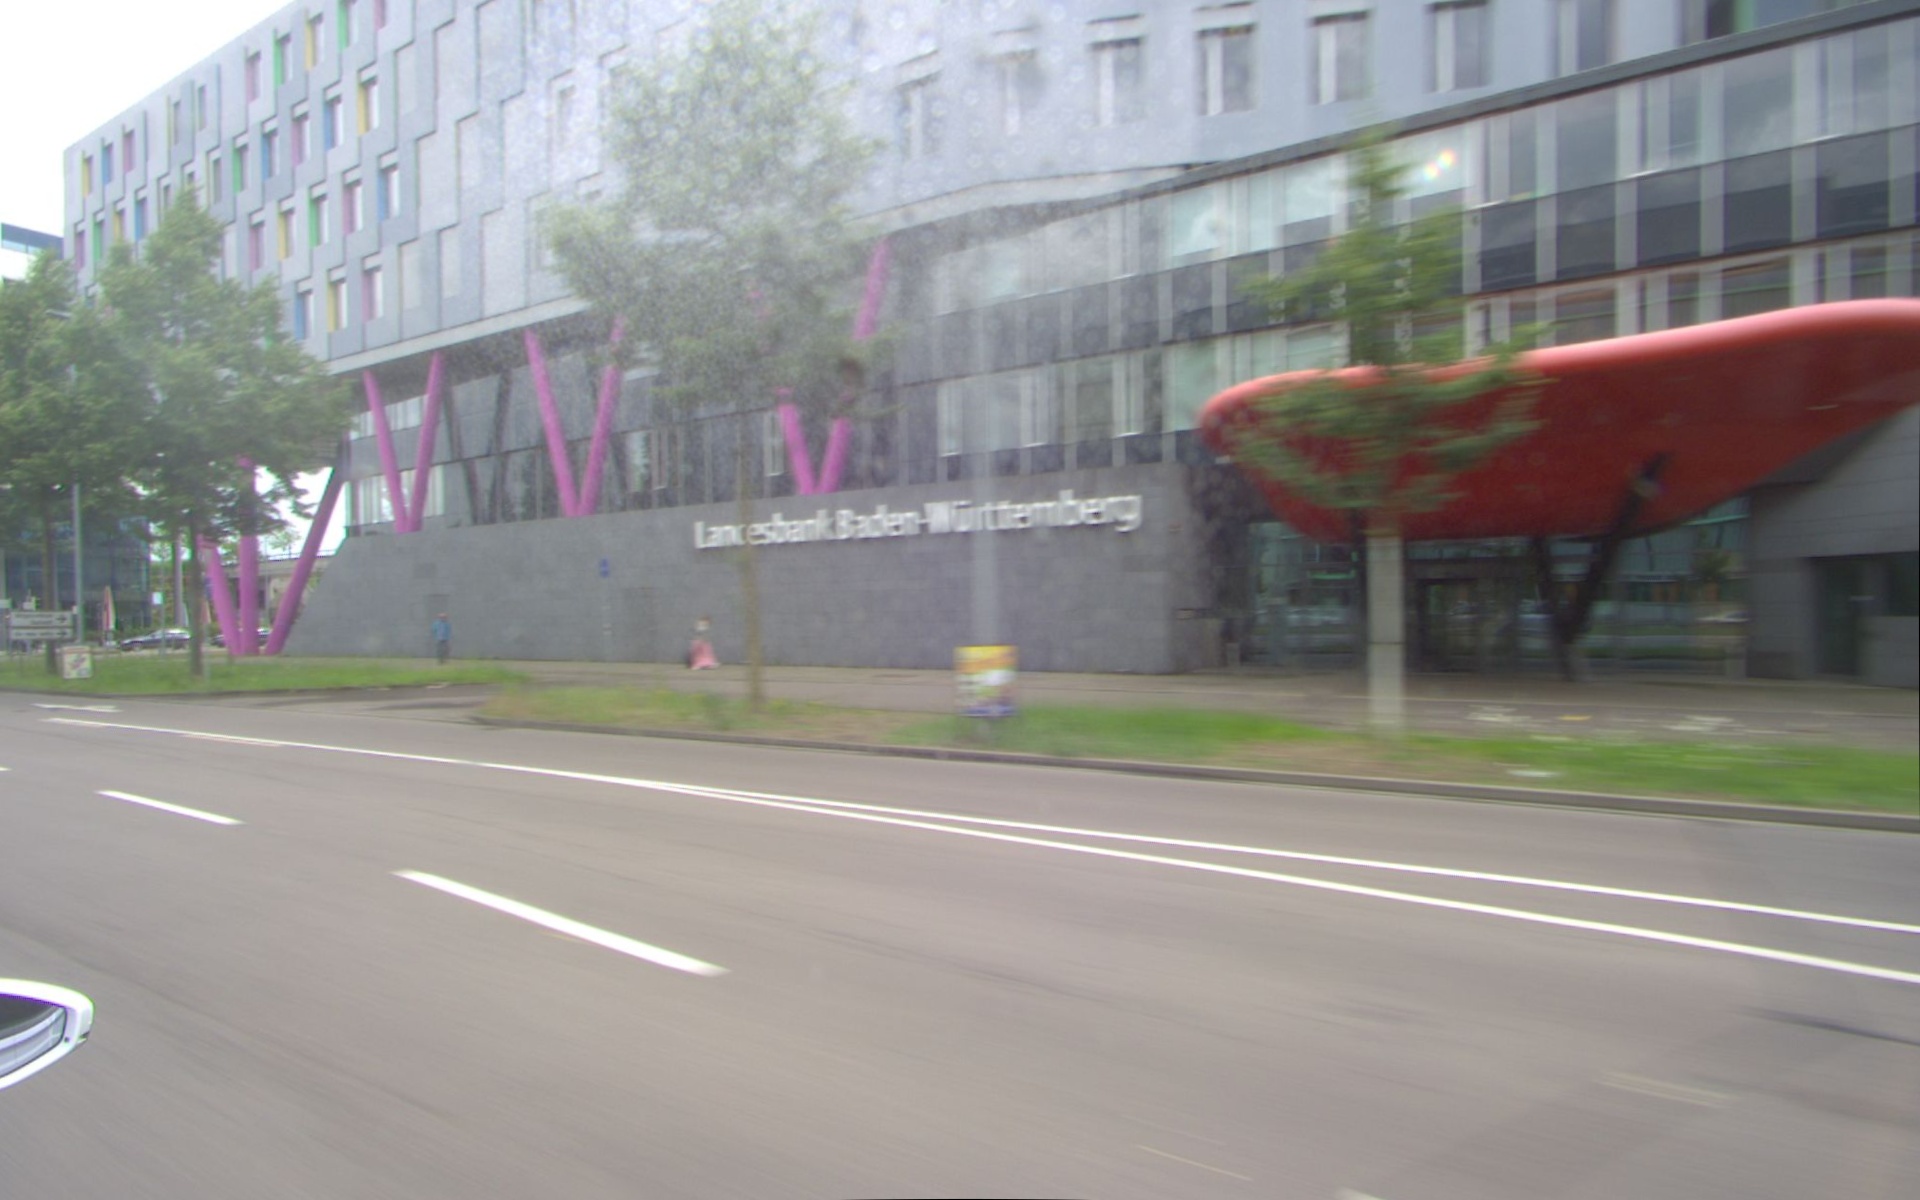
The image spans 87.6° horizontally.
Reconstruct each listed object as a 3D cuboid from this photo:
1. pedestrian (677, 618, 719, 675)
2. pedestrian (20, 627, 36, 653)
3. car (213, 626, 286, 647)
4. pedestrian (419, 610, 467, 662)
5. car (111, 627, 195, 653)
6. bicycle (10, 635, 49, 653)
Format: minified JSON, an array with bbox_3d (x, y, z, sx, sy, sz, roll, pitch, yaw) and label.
[{"bbox_3d":[-7.594,1.321,29.042,0.901,1.604,0.783,0,1,32],"label":"pedestrian"},{"bbox_3d":[-60.694,2.609,65.216,0.610,1.625,0.613,-1,0,34],"label":"pedestrian"},{"bbox_3d":[-53.017,2.694,74.755,1.733,1.474,4.071,-1,-1,33],"label":"car"},{"bbox_3d":[-17.995,1.237,34.872,1.120,1.794,1.049,0,0,32],"label":"pedestrian"},{"bbox_3d":[-55.902,2.741,69.453,1.733,1.636,4.241,-1,-1,33],"label":"car"},{"bbox_3d":[-60.658,2.873,65.285,0.609,1.100,1.787,-1,0,33],"label":"bicycle"}]
